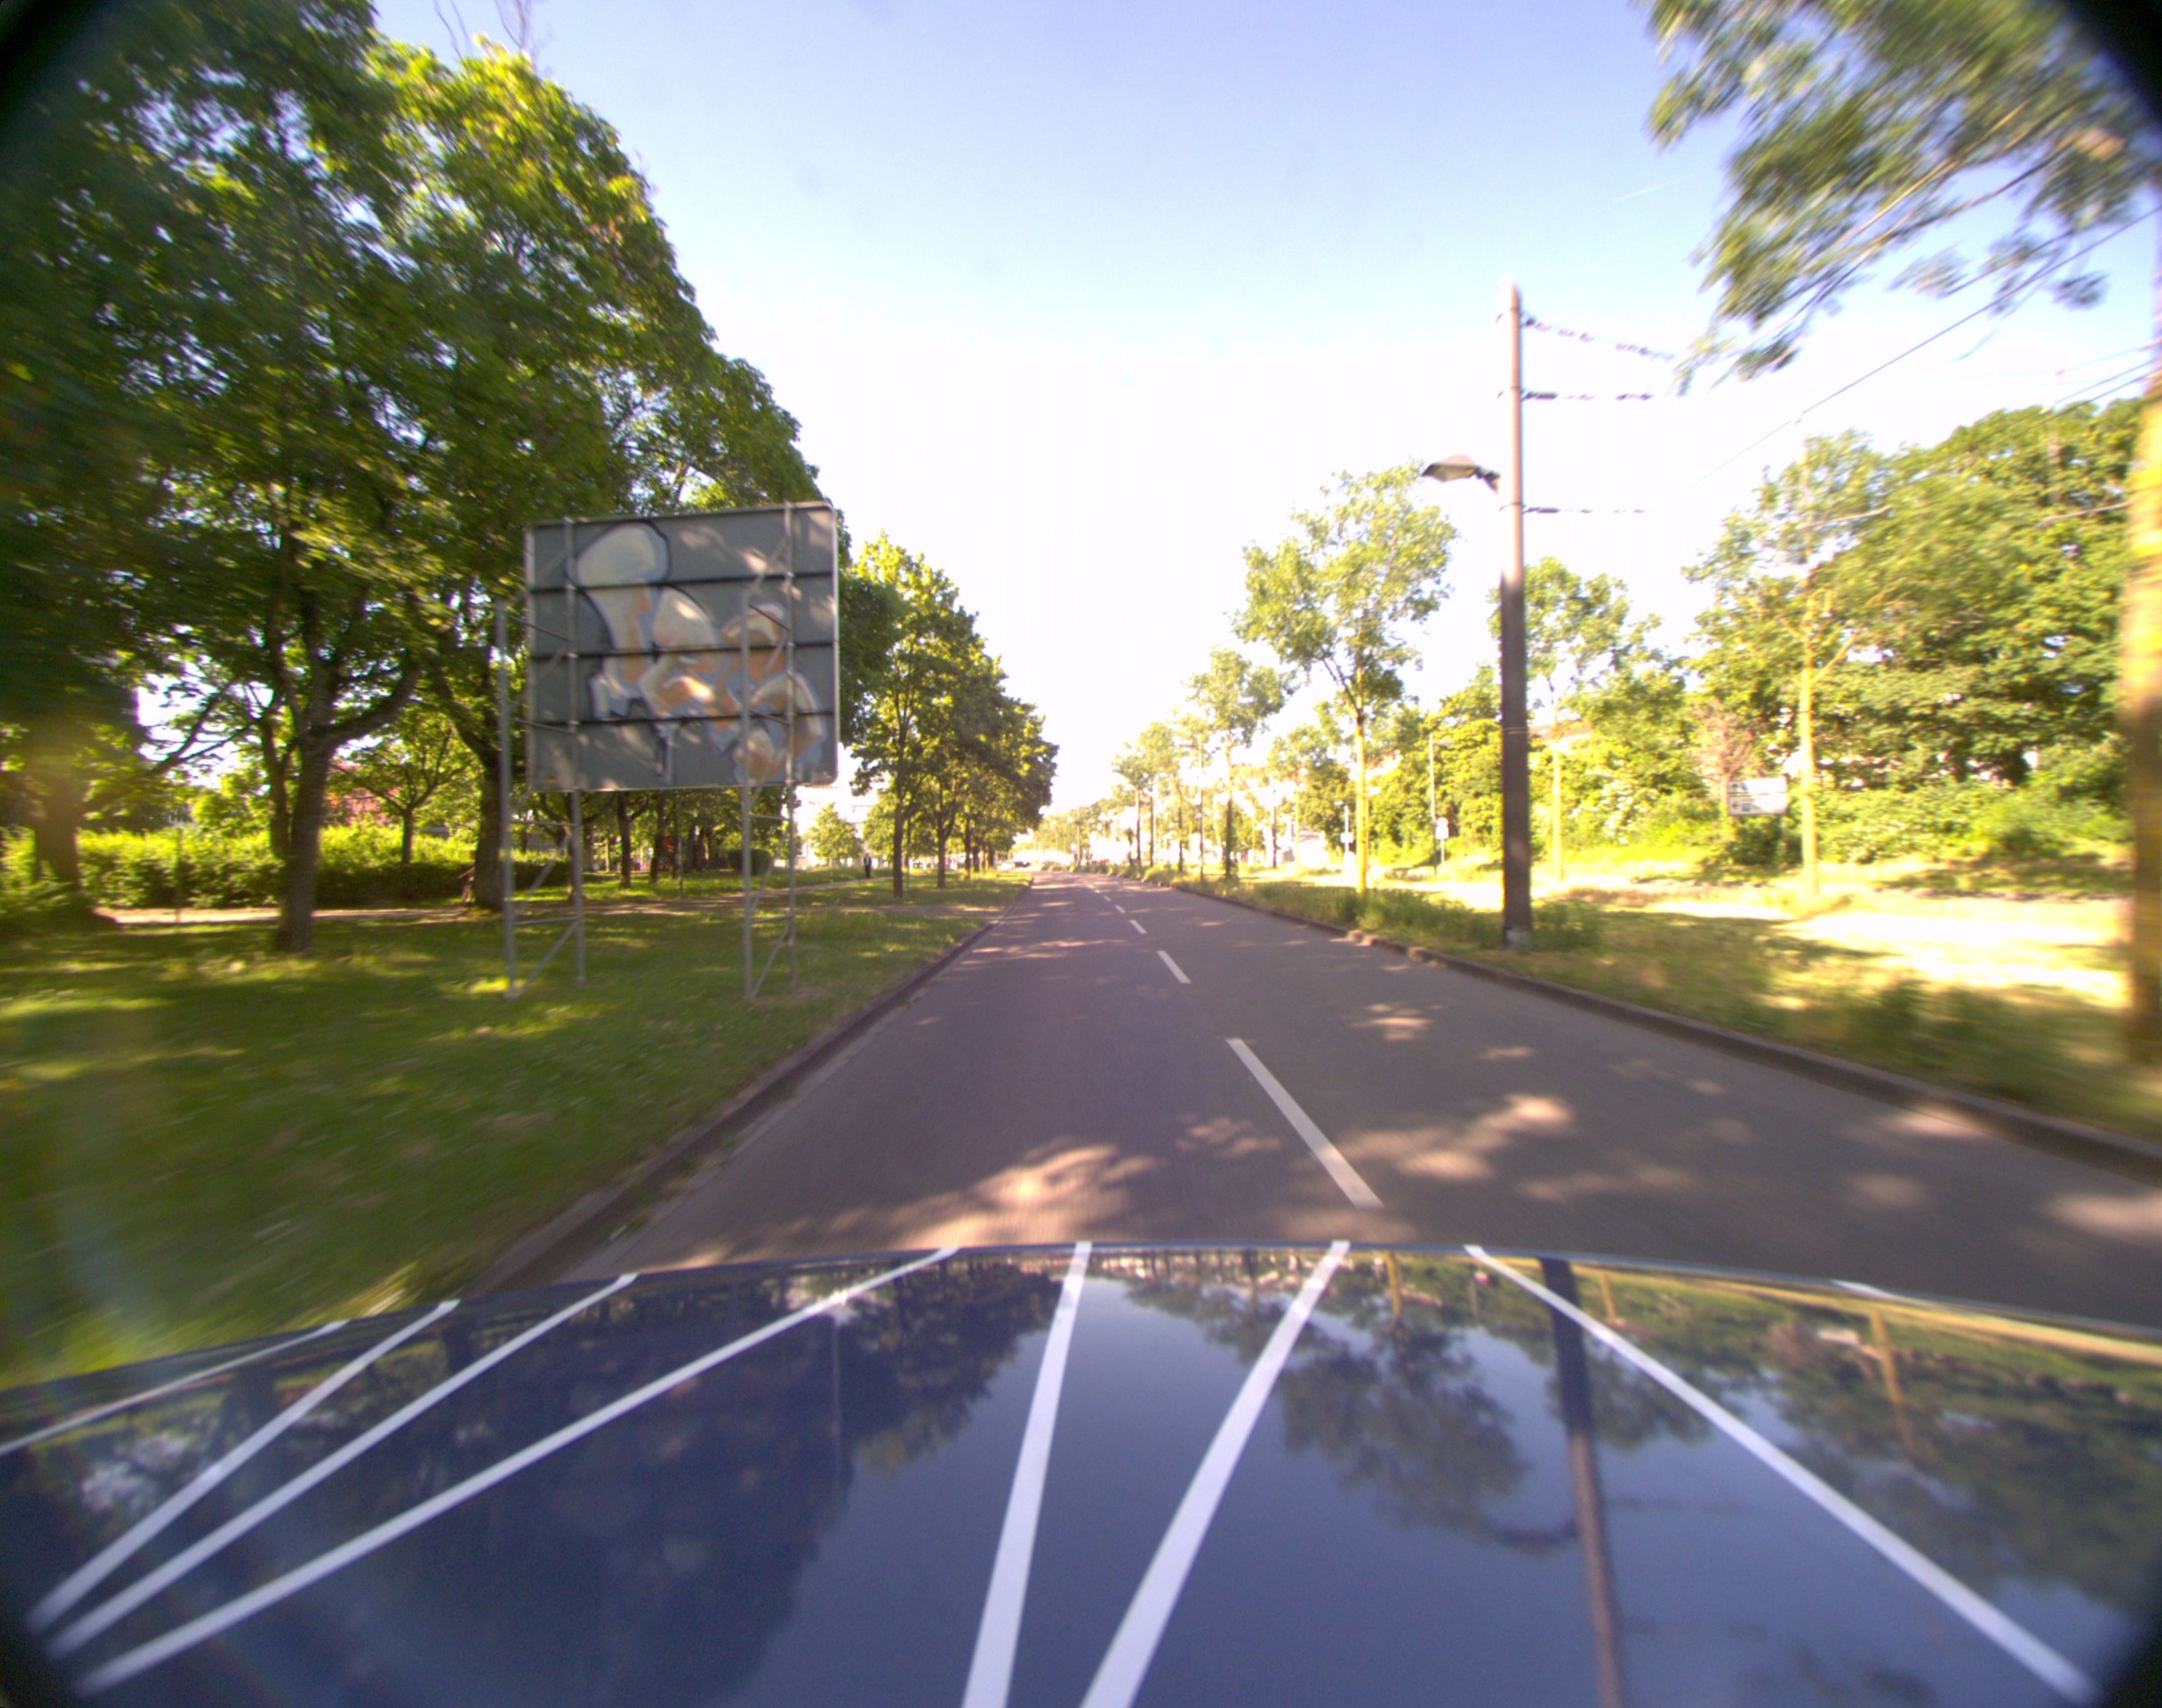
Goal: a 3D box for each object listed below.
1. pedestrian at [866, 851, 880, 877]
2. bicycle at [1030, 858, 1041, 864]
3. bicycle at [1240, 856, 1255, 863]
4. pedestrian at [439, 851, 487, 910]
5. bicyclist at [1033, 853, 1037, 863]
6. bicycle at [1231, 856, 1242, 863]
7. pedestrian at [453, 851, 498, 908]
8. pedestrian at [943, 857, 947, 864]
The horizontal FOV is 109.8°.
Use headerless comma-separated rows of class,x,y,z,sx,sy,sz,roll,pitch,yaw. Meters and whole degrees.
pedestrian,-14.219,0.691,52.017,0.718,1.792,0.793,-1,0,-4
bicycle,-8.151,1.297,136.266,1.828,0.958,0.816,-1,0,-5
bicycle,29.576,0.928,135.196,2.554,1.205,0.718,-1,0,-15
pedestrian,-17.934,0.752,22.059,0.637,1.682,0.844,0,1,9
bicyclist,-8.237,0.691,136.263,0.715,1.681,0.816,-1,0,-6
bicycle,27.959,0.951,136.621,0.720,1.205,2.549,-1,0,-15
pedestrian,-17.360,0.724,21.811,0.548,1.613,0.844,0,1,9
pedestrian,-30.361,1.415,169.538,0.733,1.687,0.734,-1,0,-14
